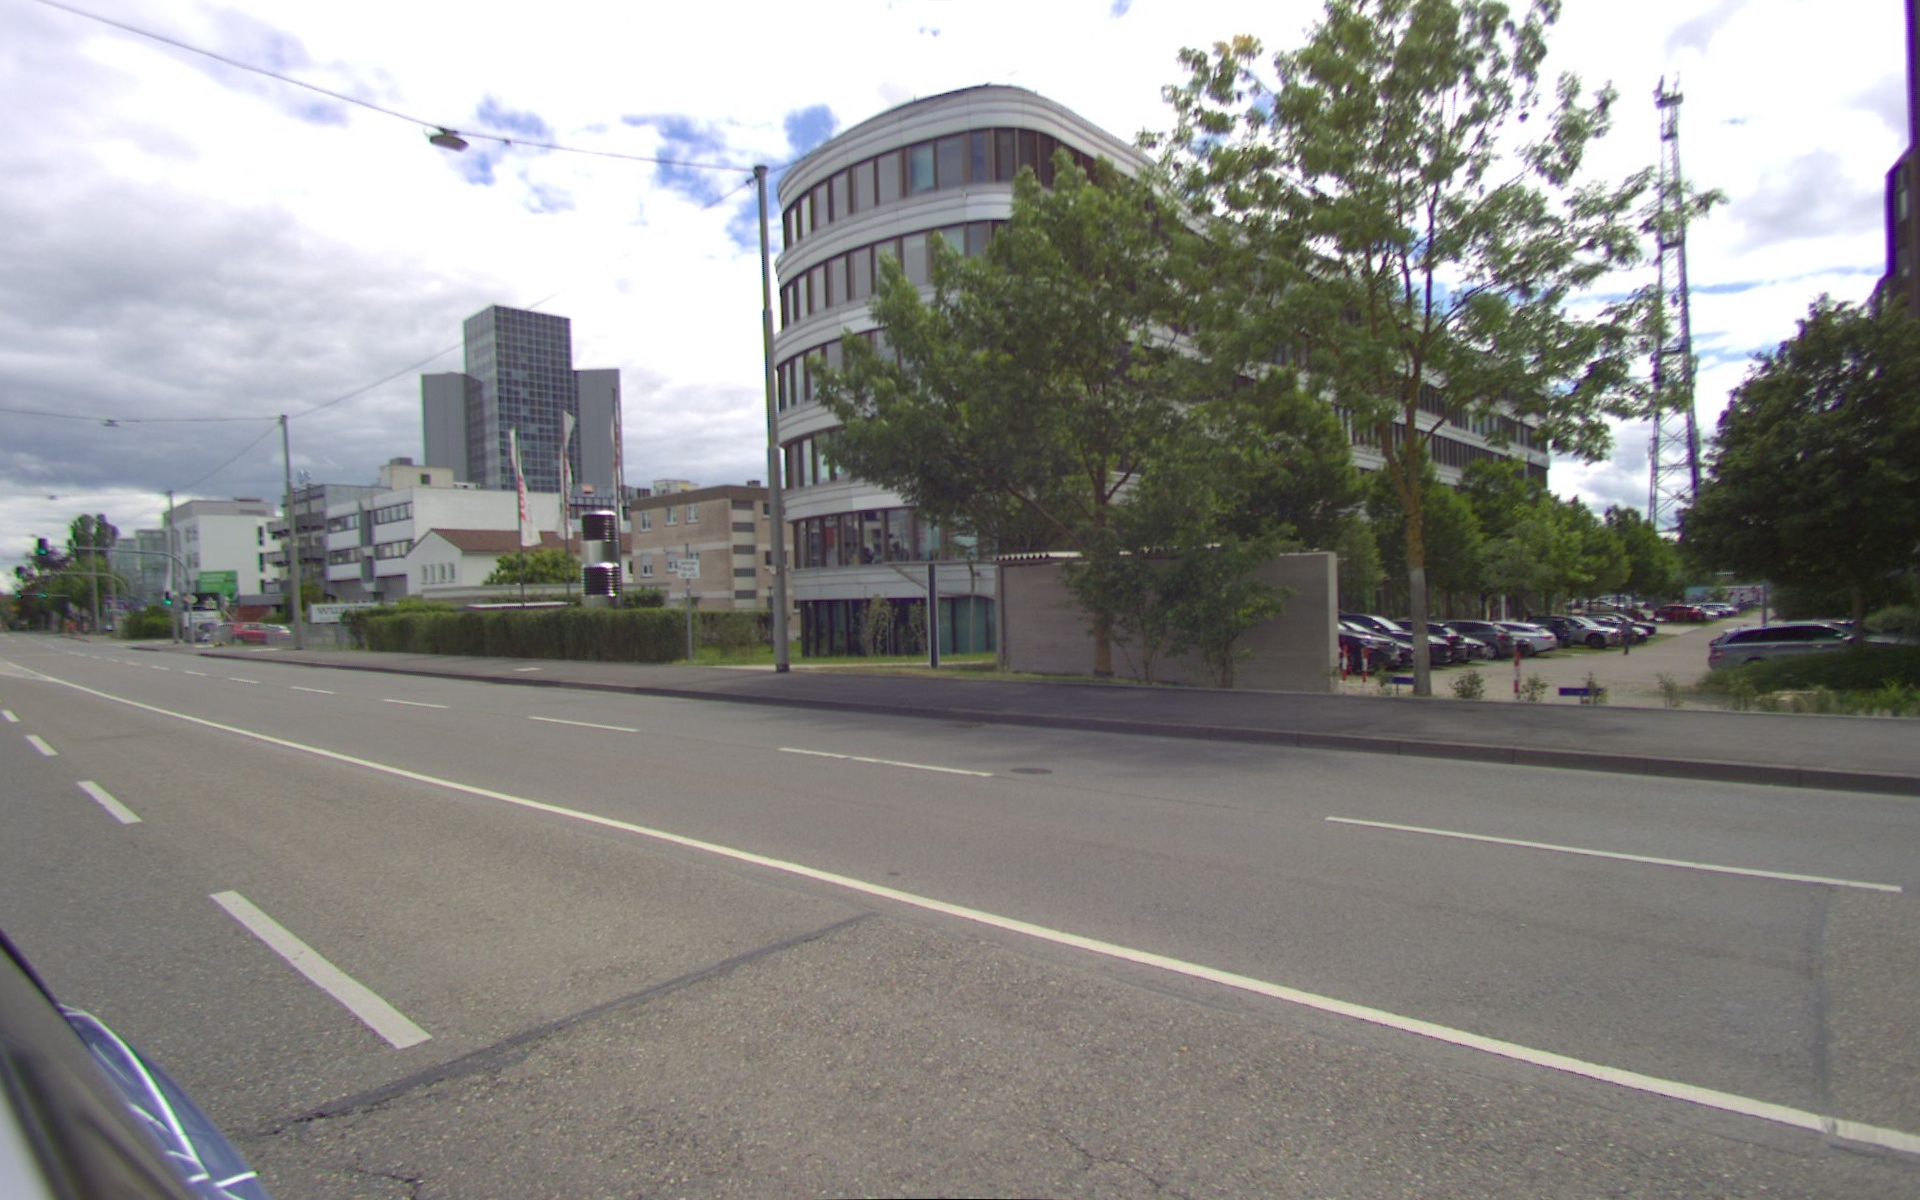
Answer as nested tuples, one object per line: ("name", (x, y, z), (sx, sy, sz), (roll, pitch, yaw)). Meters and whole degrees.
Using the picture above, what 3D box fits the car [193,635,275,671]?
("car", (-46.304, 3.318, 64.573), (1.920, 2.029, 3.944), (-1, 0, 42))

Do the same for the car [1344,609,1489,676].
("car", (15.104, 1.353, 33.575), (3.998, 2.042, 1.908), (-1, 0, 41))

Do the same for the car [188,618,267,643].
("car", (-49.364, 2.017, 68.238), (1.823, 1.342, 3.946), (-3, 1, 42))

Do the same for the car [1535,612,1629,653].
("car", (33.371, 1.709, 54.337), (3.998, 2.029, 1.973), (-1, 0, 41))

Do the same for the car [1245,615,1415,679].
("car", (10.209, 1.258, 28.030), (3.998, 1.630, 1.972), (-1, -3, 41))

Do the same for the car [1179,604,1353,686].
("car", (8.036, 1.110, 26.723), (3.993, 1.807, 1.846), (3, 2, 36))

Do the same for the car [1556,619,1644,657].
("car", (36.846, 2.150, 58.291), (3.998, 2.029, 1.973), (-1, 0, 41))

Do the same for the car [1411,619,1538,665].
("car", (19.697, 1.574, 38.826), (4.038, 1.629, 1.822), (-1, 0, 41))

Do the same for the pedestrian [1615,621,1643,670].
("pedestrian", (31.718, 2.127, 47.978), (1.001, 2.218, 0.706), (2, 2, 41))

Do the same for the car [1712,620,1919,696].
("car", (21.381, 1.375, 25.296), (3.998, 1.674, 1.973), (-1, 0, 41))

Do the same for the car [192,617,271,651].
("car", (-47.983, 2.190, 66.691), (1.904, 2.029, 3.944), (-1, 0, 43))

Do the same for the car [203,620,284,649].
("car", (-44.312, 2.097, 62.639), (1.834, 1.623, 3.754), (-2, -1, 40))

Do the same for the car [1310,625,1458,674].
("car", (13.234, 1.514, 31.711), (3.998, 1.386, 1.506), (-1, 0, 41))

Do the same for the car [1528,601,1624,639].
("car", (31.615, 1.003, 51.975), (3.998, 1.785, 1.823), (1, 1, 41))

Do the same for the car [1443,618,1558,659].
("car", (22.736, 1.574, 42.640), (3.998, 1.497, 1.836), (1, 2, 41))

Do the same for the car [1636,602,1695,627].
("car", (60.470, 1.226, 86.783), (3.998, 2.029, 1.973), (-1, 0, 41))
